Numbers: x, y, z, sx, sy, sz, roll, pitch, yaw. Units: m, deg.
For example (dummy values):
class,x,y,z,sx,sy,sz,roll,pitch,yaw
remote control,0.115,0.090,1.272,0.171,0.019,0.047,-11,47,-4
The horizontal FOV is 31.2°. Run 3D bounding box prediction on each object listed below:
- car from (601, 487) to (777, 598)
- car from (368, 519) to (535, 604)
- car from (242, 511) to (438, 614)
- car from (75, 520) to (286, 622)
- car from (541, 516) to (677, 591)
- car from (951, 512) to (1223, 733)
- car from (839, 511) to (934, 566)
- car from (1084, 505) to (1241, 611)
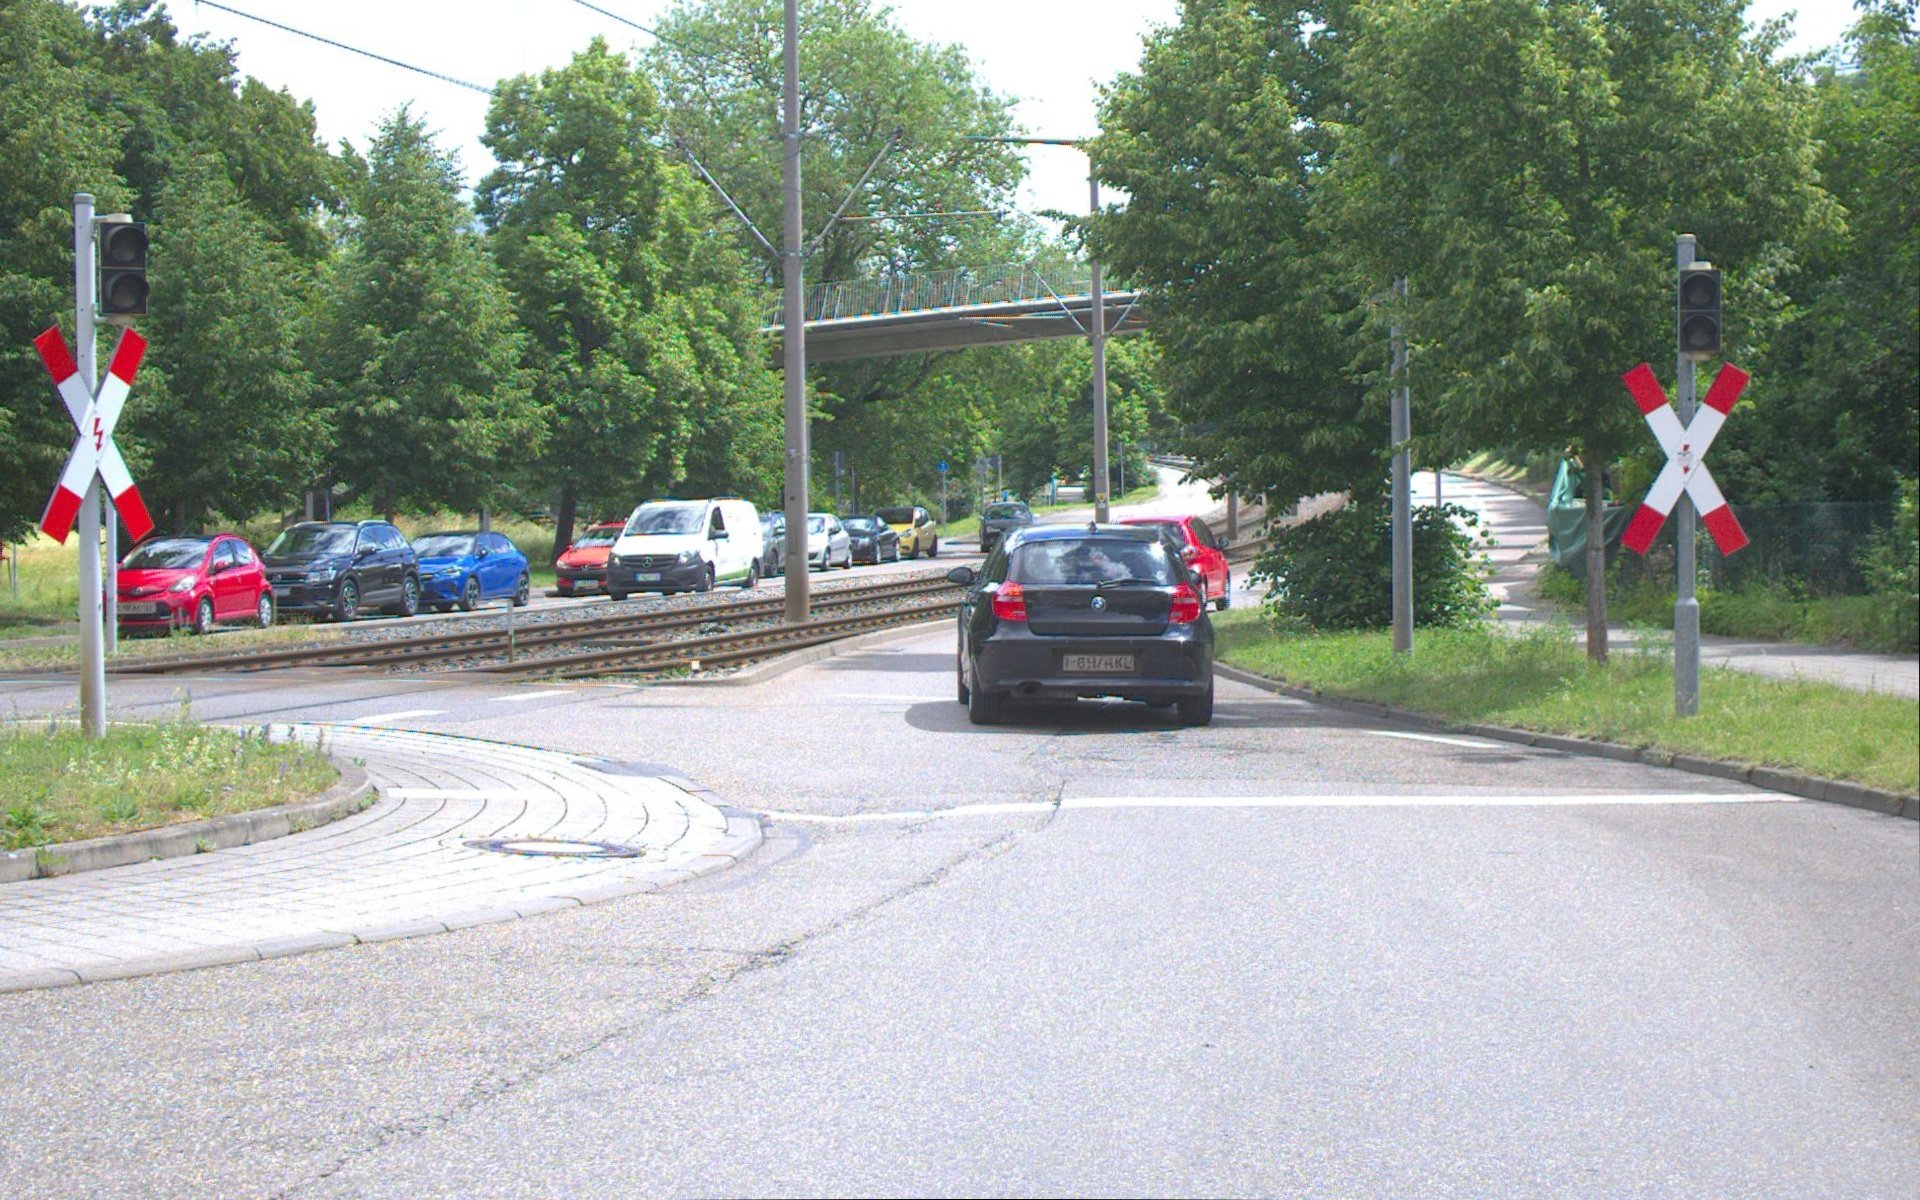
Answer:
class,x,y,z,sx,sy,sz,roll,pitch,yaw
car,-5.124,-1.068,65.689,1.876,2.012,5.232,1,0,13
car,-9.056,-0.670,61.515,1.614,1.456,4.005,1,0,13
car,-10.115,-0.599,56.424,1.581,1.600,4.372,1,0,13
car,-11.492,-0.423,50.871,1.614,1.446,3.660,1,0,13
car,-7.266,-0.950,71.516,1.614,1.489,4.045,1,0,13
car,0.857,0.103,25.340,1.708,1.455,3.961,1,2,-2
car,-1.991,-1.672,94.212,1.690,1.445,3.896,1,0,13
car,2.913,-0.591,48.802,1.625,1.438,3.419,1,1,14
